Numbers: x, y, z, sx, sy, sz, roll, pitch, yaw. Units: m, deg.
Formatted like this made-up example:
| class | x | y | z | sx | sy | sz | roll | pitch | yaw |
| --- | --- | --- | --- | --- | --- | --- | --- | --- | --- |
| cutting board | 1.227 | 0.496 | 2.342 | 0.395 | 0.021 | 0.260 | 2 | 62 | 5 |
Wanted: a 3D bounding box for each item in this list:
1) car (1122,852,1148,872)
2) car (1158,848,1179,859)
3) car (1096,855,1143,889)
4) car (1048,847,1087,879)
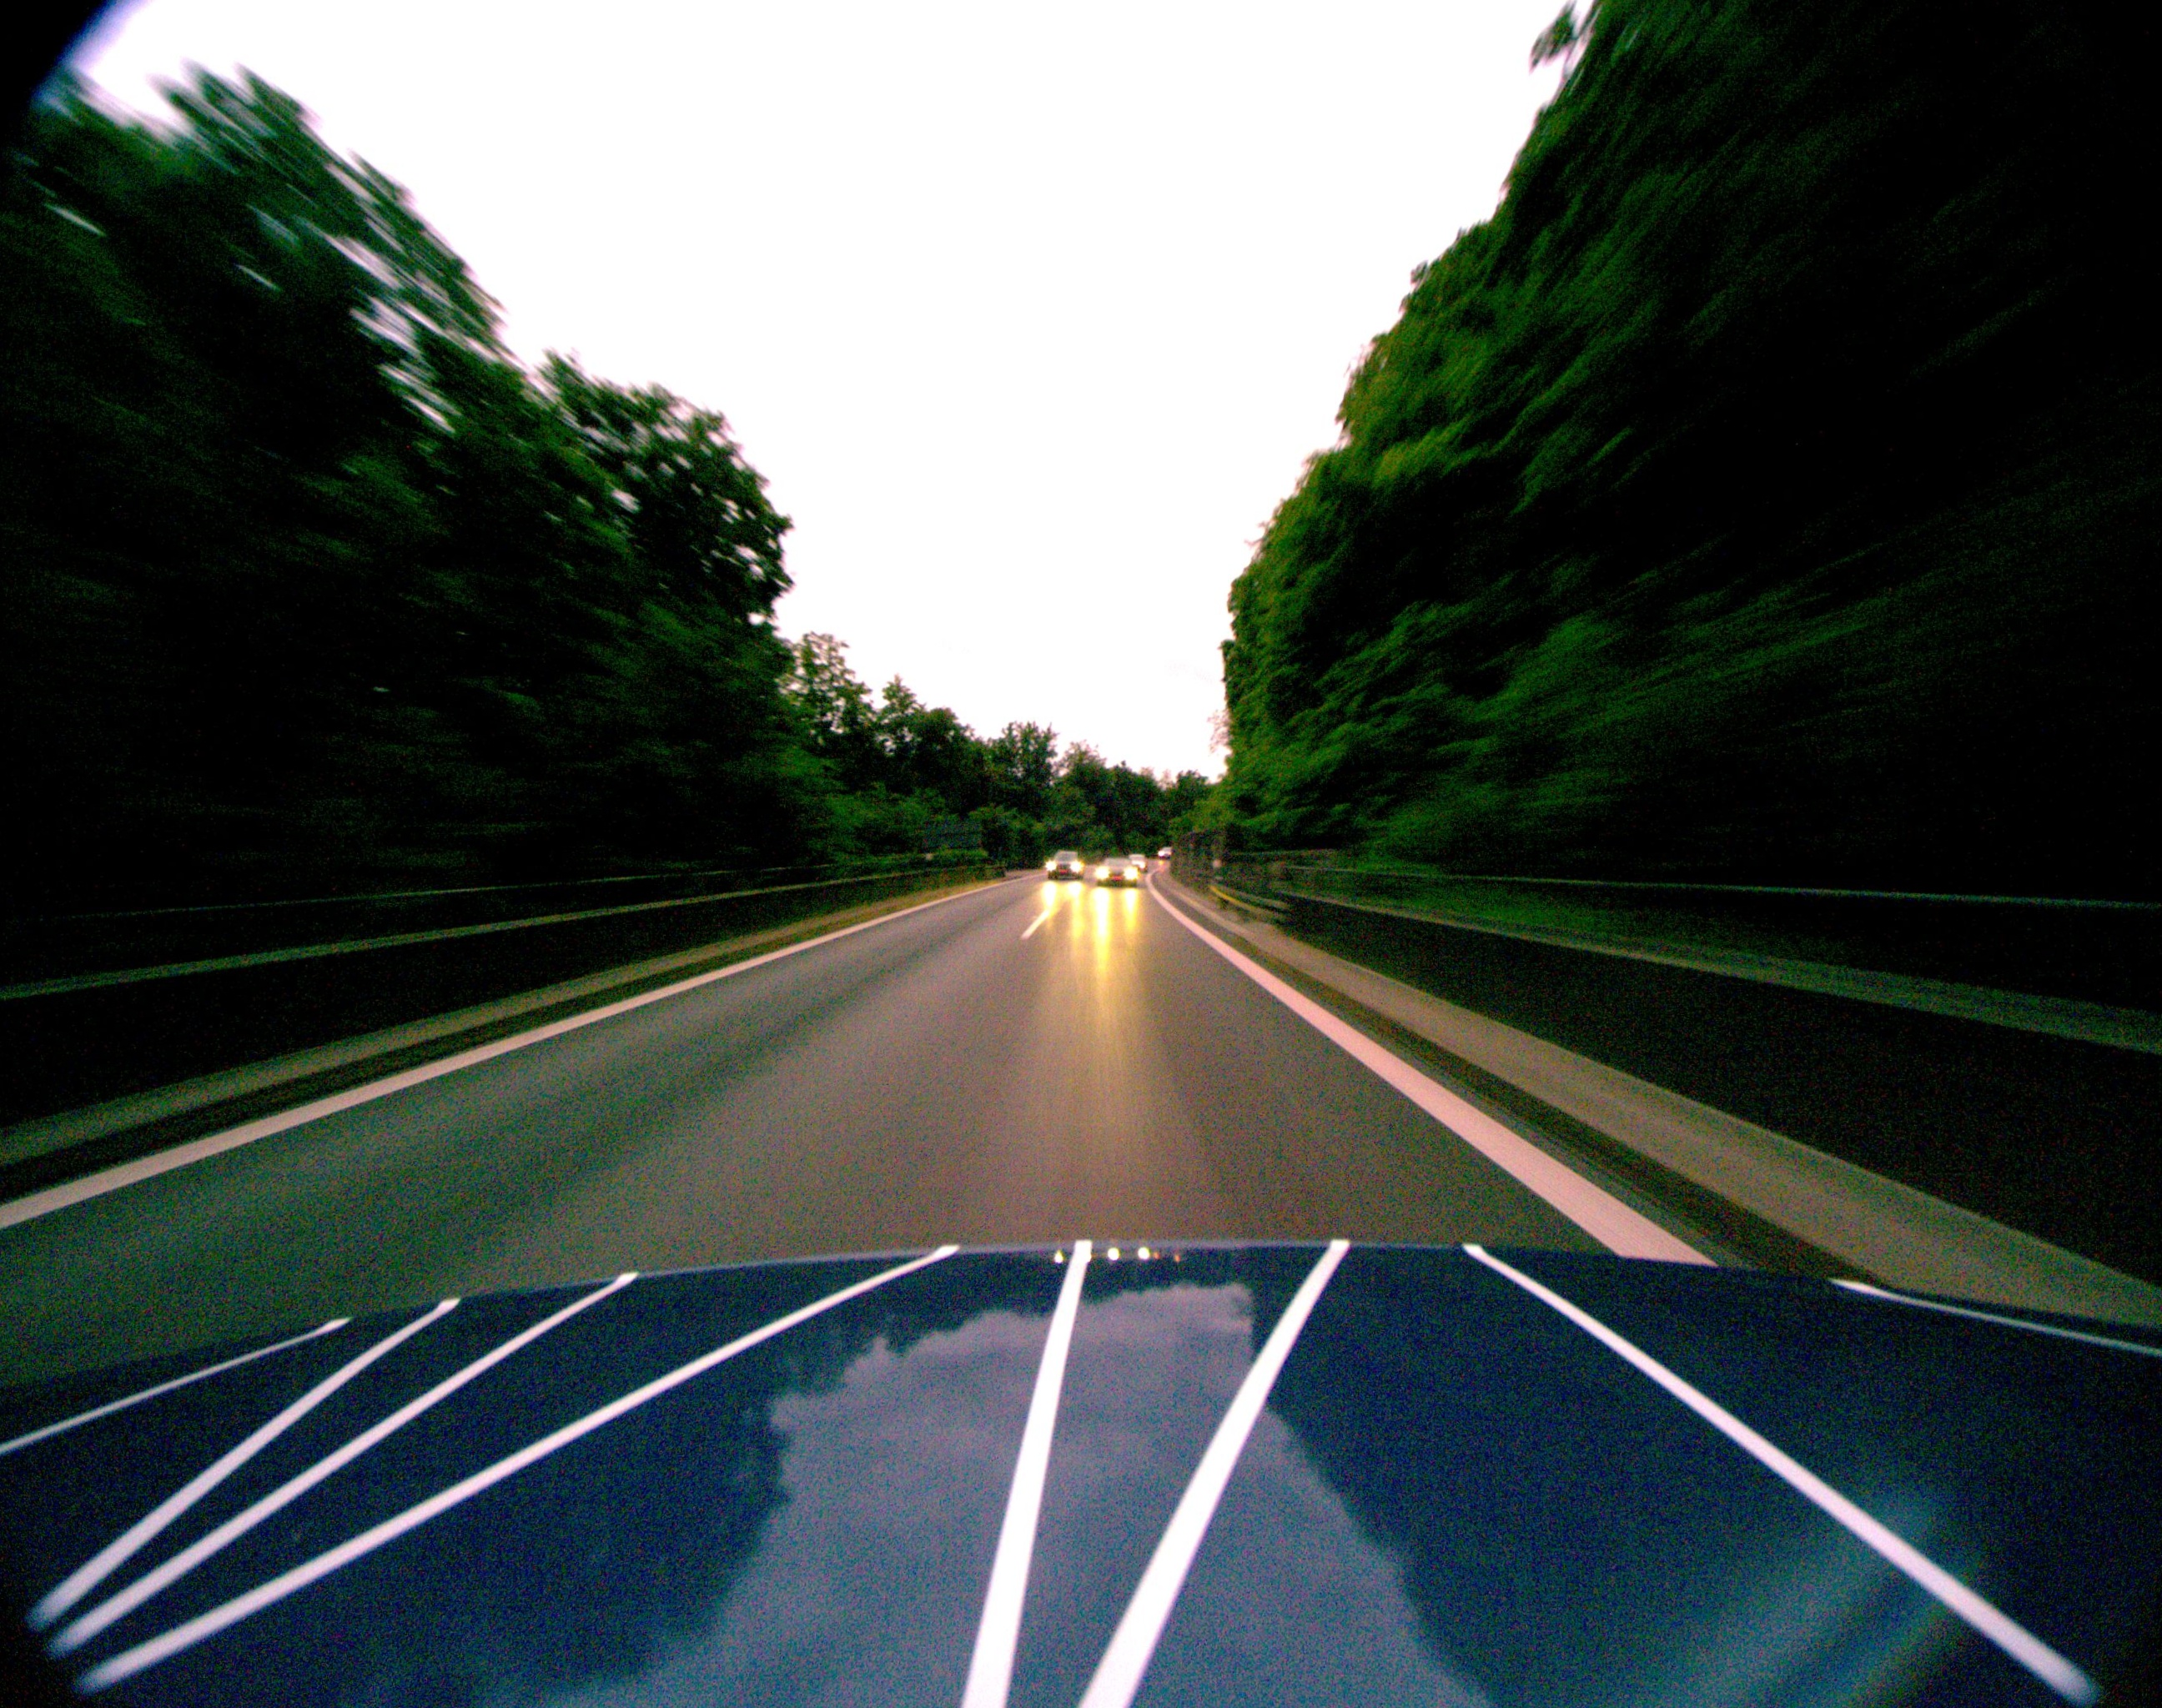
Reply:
| class | x | y | z | sx | sy | sz | roll | pitch | yaw |
| --- | --- | --- | --- | --- | --- | --- | --- | --- | --- |
| car | 4.591 | 0.664 | 63.960 | 1.997 | 1.499 | 4.001 | -1 | 1 | 6 |
| car | 13.499 | -0.049 | 117.191 | 1.995 | 1.608 | 4.007 | 1 | 0 | 24 |
| car | 1.960 | 0.848 | 37.574 | 1.997 | 1.499 | 4.002 | 2 | 1 | 7 |
| car | -0.741 | 0.492 | 45.194 | 1.998 | 1.631 | 4.000 | 2 | 2 | 3 |
